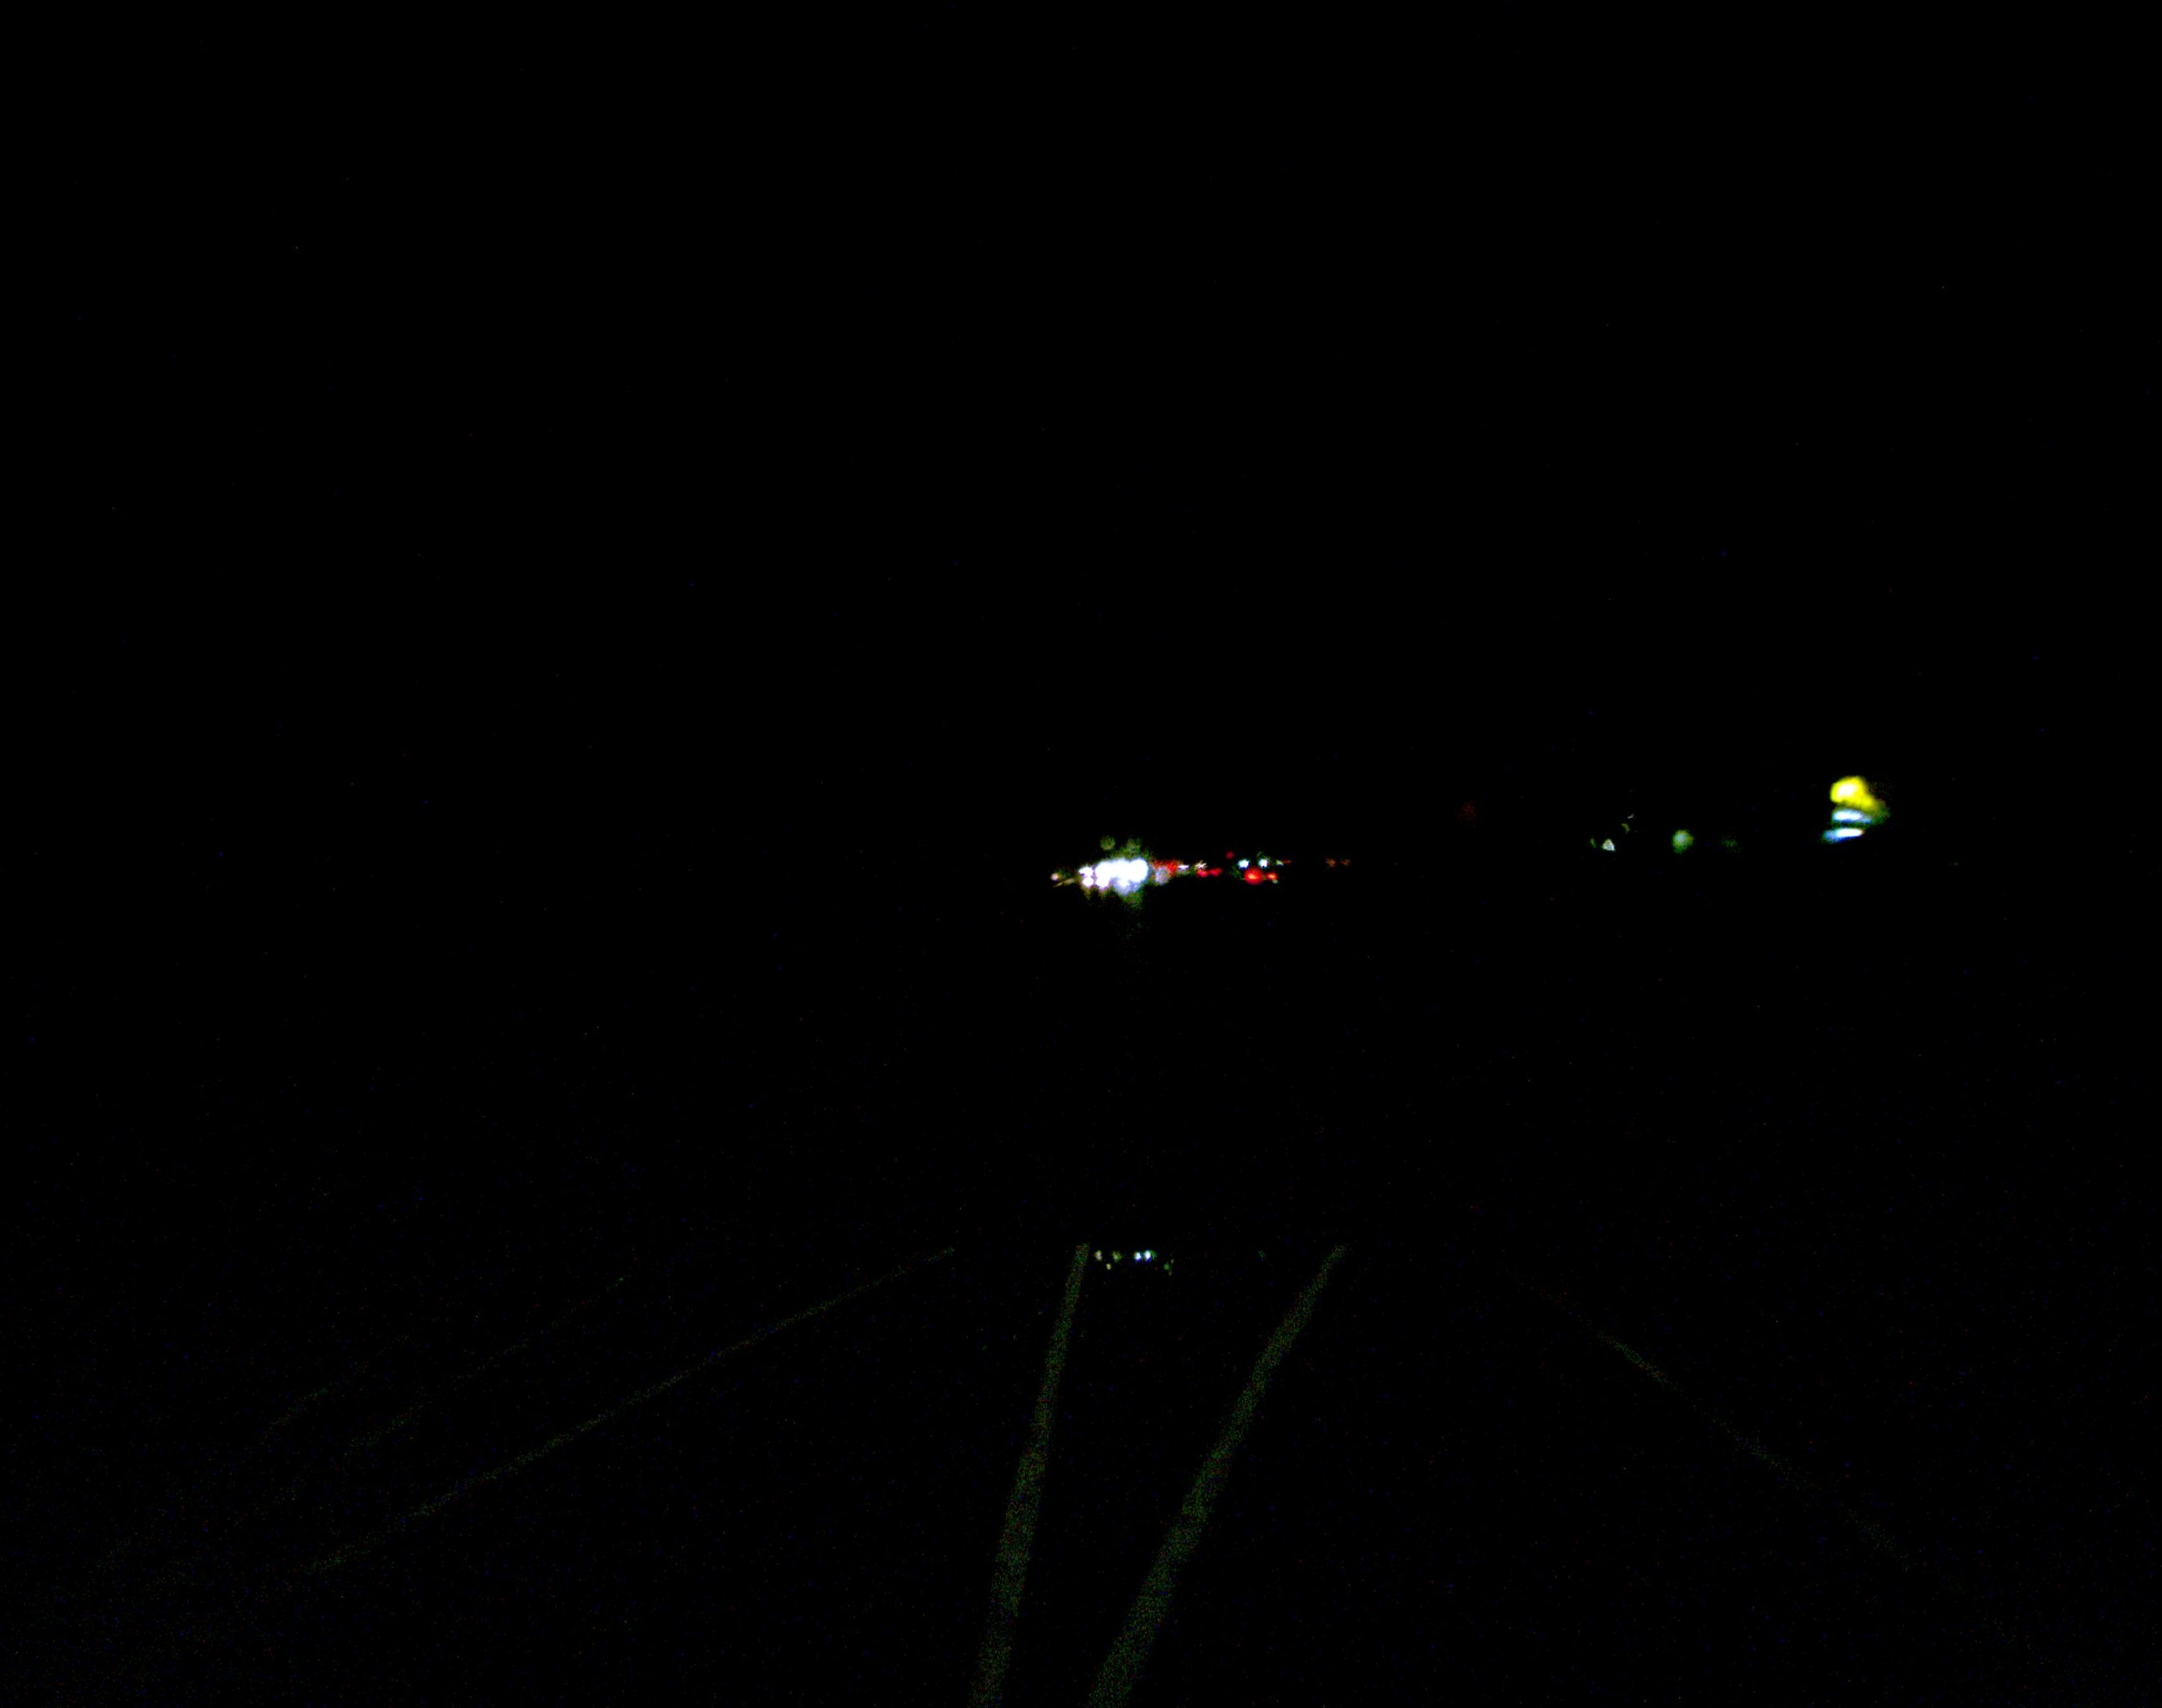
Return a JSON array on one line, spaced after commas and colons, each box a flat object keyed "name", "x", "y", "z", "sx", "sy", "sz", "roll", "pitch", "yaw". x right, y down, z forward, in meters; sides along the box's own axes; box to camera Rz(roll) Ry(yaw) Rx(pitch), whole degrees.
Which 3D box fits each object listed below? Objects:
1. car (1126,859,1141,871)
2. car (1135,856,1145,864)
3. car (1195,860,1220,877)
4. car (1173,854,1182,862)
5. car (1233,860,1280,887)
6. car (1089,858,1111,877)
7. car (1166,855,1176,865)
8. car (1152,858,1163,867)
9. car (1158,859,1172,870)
[{"name": "car", "x": 8.201, "y": 1.664, "z": 118.360, "sx": 1.913, "sy": 1.693, "sz": 4.942, "roll": -2, "pitch": 0, "yaw": 8}, {"name": "car", "x": 11.279, "y": 1.189, "z": 145.263, "sx": 1.807, "sy": 1.416, "sz": 4.207, "roll": -2, "pitch": 1, "yaw": 7}, {"name": "car", "x": 11.986, "y": 1.395, "z": 72.074, "sx": 1.808, "sy": 1.416, "sz": 4.205, "roll": -2, "pitch": 1, "yaw": 2}, {"name": "car", "x": 24.454, "y": 1.000, "z": 192.778, "sx": 1.997, "sy": 2.002, "sz": 4.002, "roll": -2, "pitch": 1, "yaw": 9}, {"name": "car", "x": 12.137, "y": 1.320, "z": 52.891, "sx": 2.094, "sy": 1.691, "sz": 4.576, "roll": -2, "pitch": 1, "yaw": -2}, {"name": "car", "x": 1.931, "y": 1.302, "z": 74.567, "sx": 1.877, "sy": 1.824, "sz": 4.207, "roll": -2, "pitch": 0, "yaw": 4}, {"name": "car", "x": 19.888, "y": 1.230, "z": 167.482, "sx": 1.997, "sy": 2.002, "sz": 4.002, "roll": -2, "pitch": 1, "yaw": 7}, {"name": "car", "x": 14.011, "y": 1.572, "z": 138.866, "sx": 1.807, "sy": 1.416, "sz": 4.207, "roll": -2, "pitch": 1, "yaw": 8}, {"name": "car", "x": 12.223, "y": 1.529, "z": 111.107, "sx": 1.807, "sy": 1.416, "sz": 4.206, "roll": -2, "pitch": 1, "yaw": 3}]
